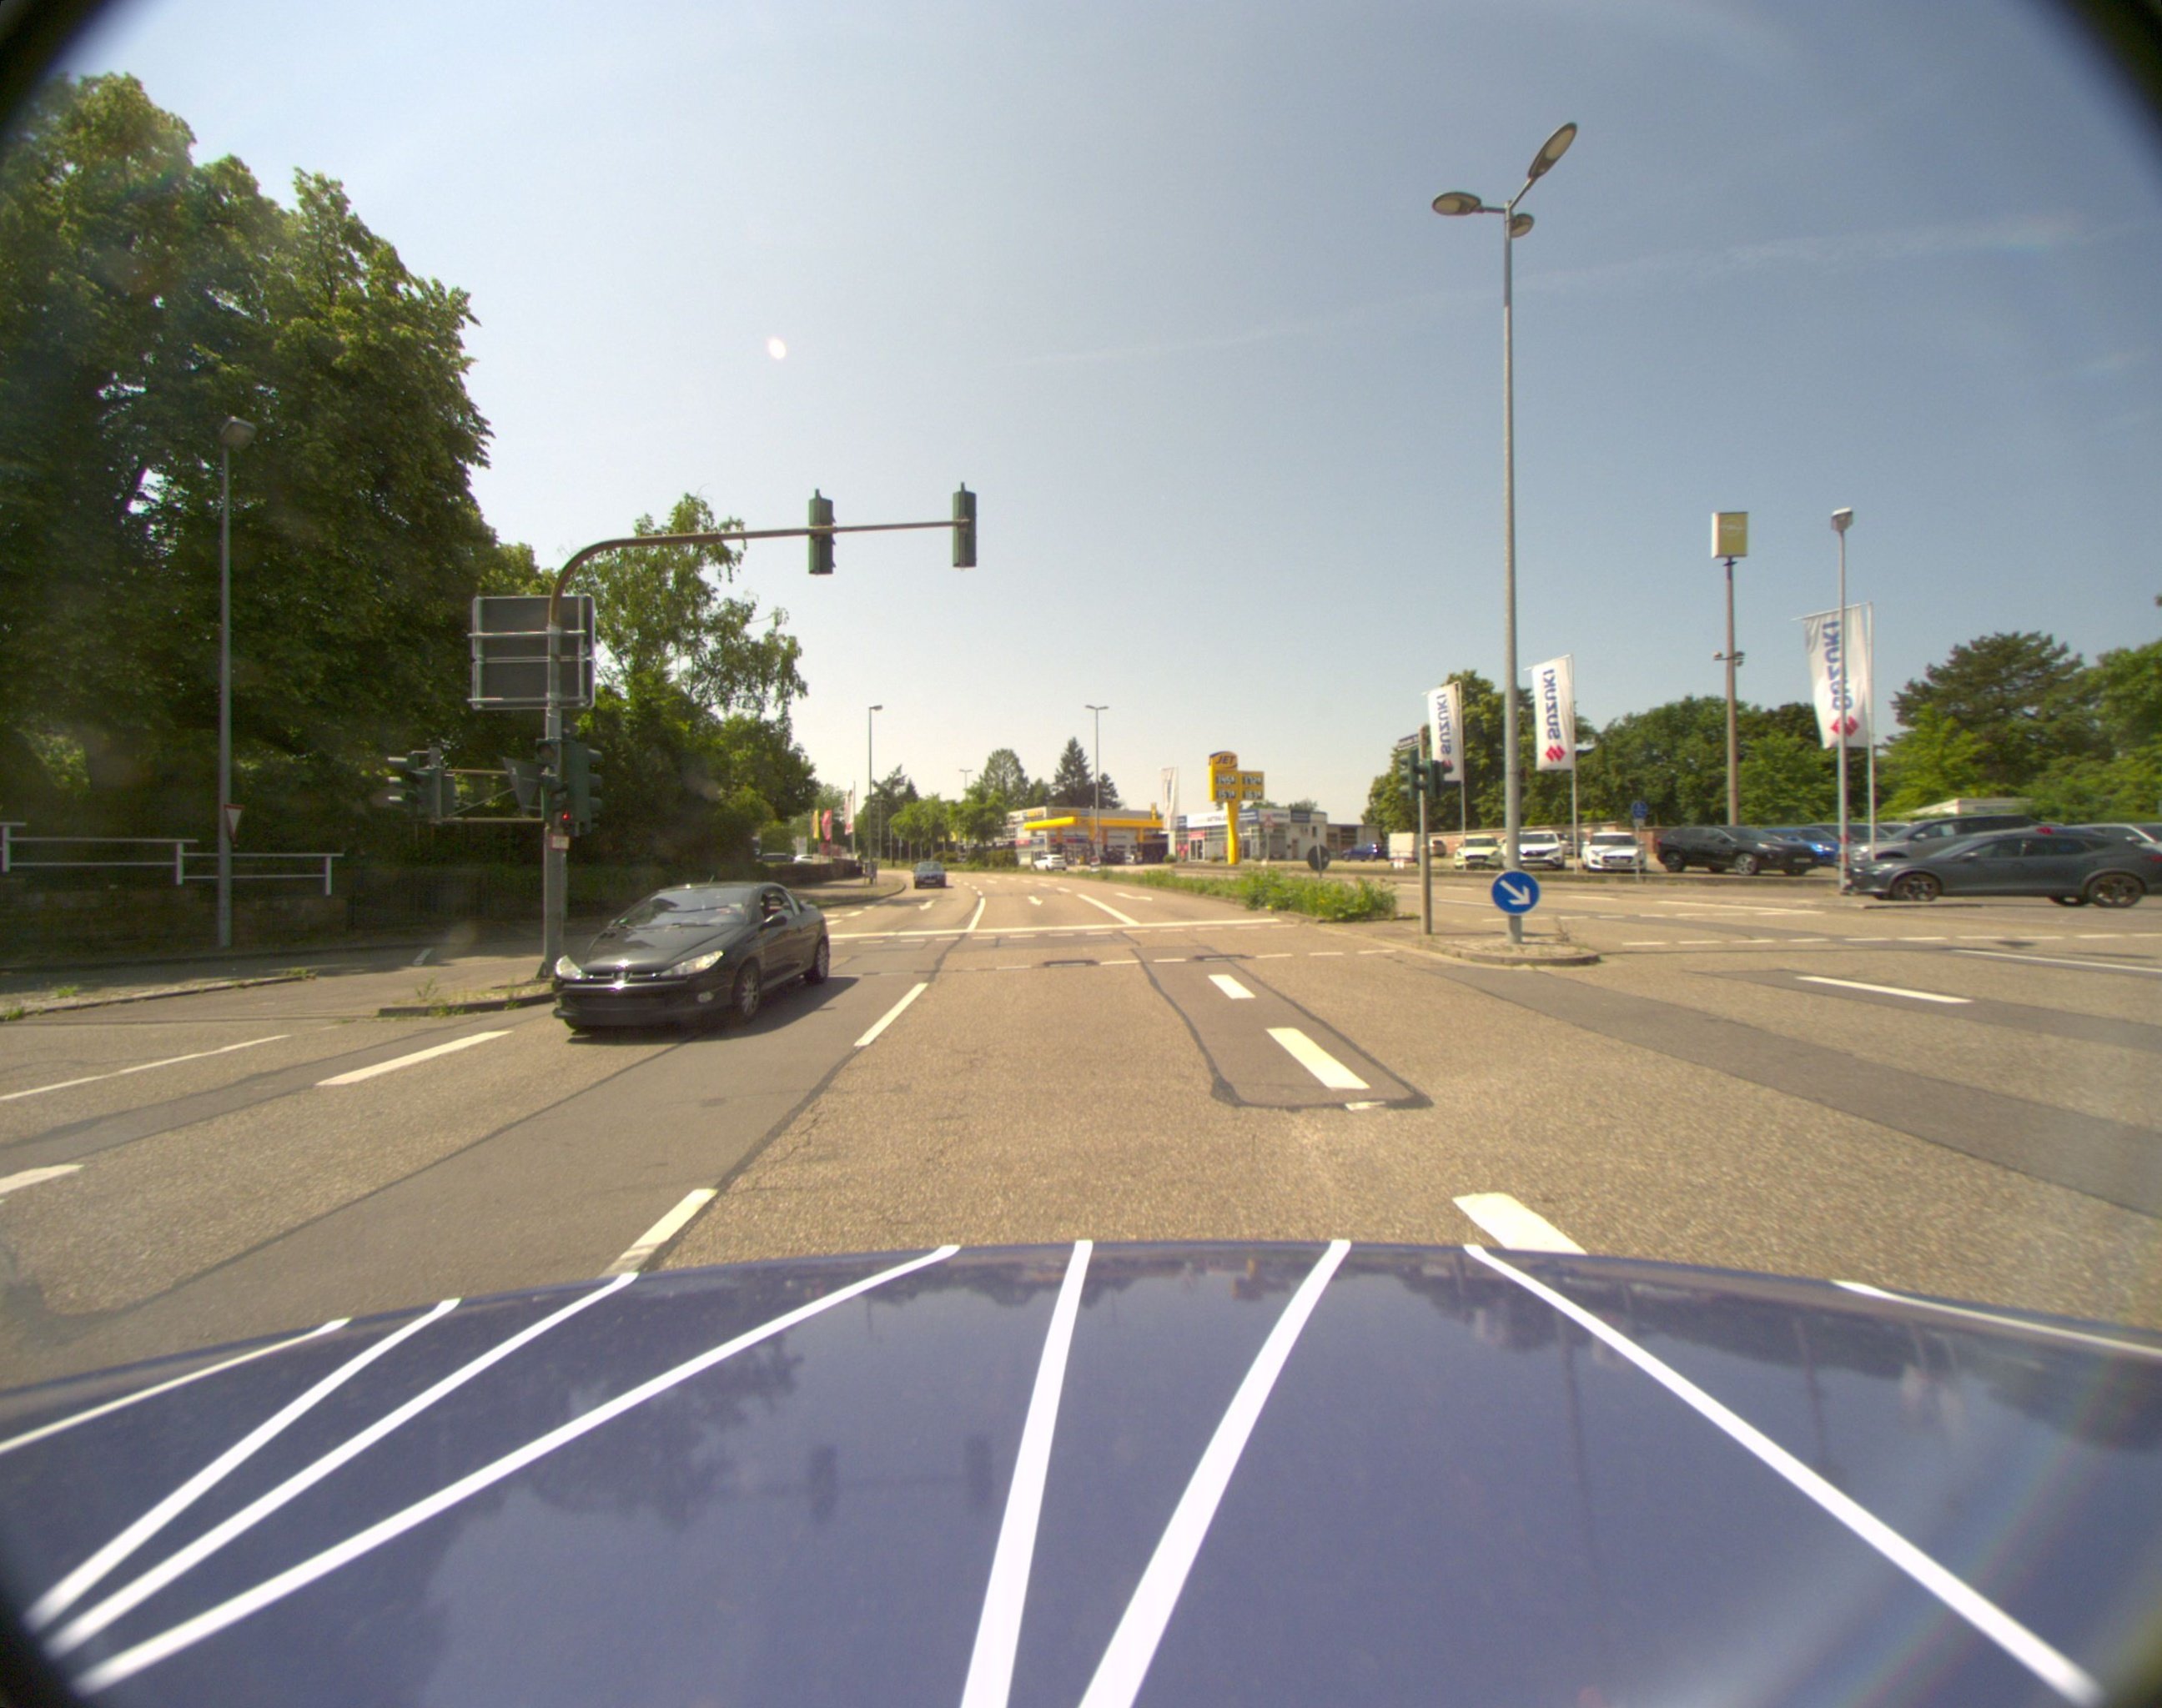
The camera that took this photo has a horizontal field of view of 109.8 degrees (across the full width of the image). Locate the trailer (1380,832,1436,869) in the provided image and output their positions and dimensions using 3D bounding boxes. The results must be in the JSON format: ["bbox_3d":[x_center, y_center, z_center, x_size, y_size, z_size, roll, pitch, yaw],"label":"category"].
[{"bbox_3d":[15.830,-0.195,36.758,1.689,1.694,2.439,-1,1,43],"label":"trailer"}]

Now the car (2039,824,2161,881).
[{"bbox_3d":[29.968,-0.062,21.025,1.795,1.528,3.998,-2,1,-3],"label":"car"}]

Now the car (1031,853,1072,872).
[{"bbox_3d":[-2.687,0.774,68.731,1.877,1.415,4.260,-1,-3,-30],"label":"car"}]

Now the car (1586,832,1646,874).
[{"bbox_3d":[19.846,-0.076,28.237,1.711,1.424,3.970,0,2,35],"label":"car"}]

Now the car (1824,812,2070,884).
[{"bbox_3d":[24.642,-0.207,21.910,4.297,1.891,1.833,1,2,33],"label":"car"}]

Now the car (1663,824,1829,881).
[{"bbox_3d":[21.944,-0.107,25.306,1.845,1.714,4.011,-1,2,-4],"label":"car"}]

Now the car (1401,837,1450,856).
[{"bbox_3d":[28.589,-0.589,63.163,1.622,1.497,3.624,-2,0,-22],"label":"car"}]

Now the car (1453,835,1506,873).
[{"bbox_3d":[17.378,-0.032,33.066,1.753,1.501,3.827,-1,1,31],"label":"car"}]

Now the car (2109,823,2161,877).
[{"bbox_3d":[32.297,-0.101,21.150,1.841,1.561,3.998,0,1,-4],"label":"car"}]

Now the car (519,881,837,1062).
[{"bbox_3d":[-4.023,1.066,8.317,1.604,1.416,3.660,0,0,-2],"label":"car"}]

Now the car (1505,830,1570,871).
[{"bbox_3d":[18.504,-0.173,30.694,1.913,1.532,3.970,-1,1,36],"label":"car"}]

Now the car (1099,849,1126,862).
[{"bbox_3d":[3.859,0.143,94.099,1.658,1.534,4.205,-3,1,-24],"label":"car"}]

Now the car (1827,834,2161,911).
[{"bbox_3d":[19.475,0.371,16.458,4.428,1.476,2.008,0,-1,33],"label":"car"}]

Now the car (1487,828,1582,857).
[{"bbox_3d":[27.093,-0.650,45.548,1.696,1.640,4.748,-2,0,-24],"label":"car"}]

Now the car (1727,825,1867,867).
[{"bbox_3d":[28.905,-0.336,30.880,1.795,1.528,3.998,-2,1,-3],"label":"car"}]

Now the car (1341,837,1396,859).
[{"bbox_3d":[20.837,-0.441,55.188,1.696,1.497,3.624,-2,0,-22],"label":"car"}]

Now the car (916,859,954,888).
[{"bbox_3d":[-7.700,1.006,40.305,1.698,1.365,3.996,0,1,-7],"label":"car"}]
